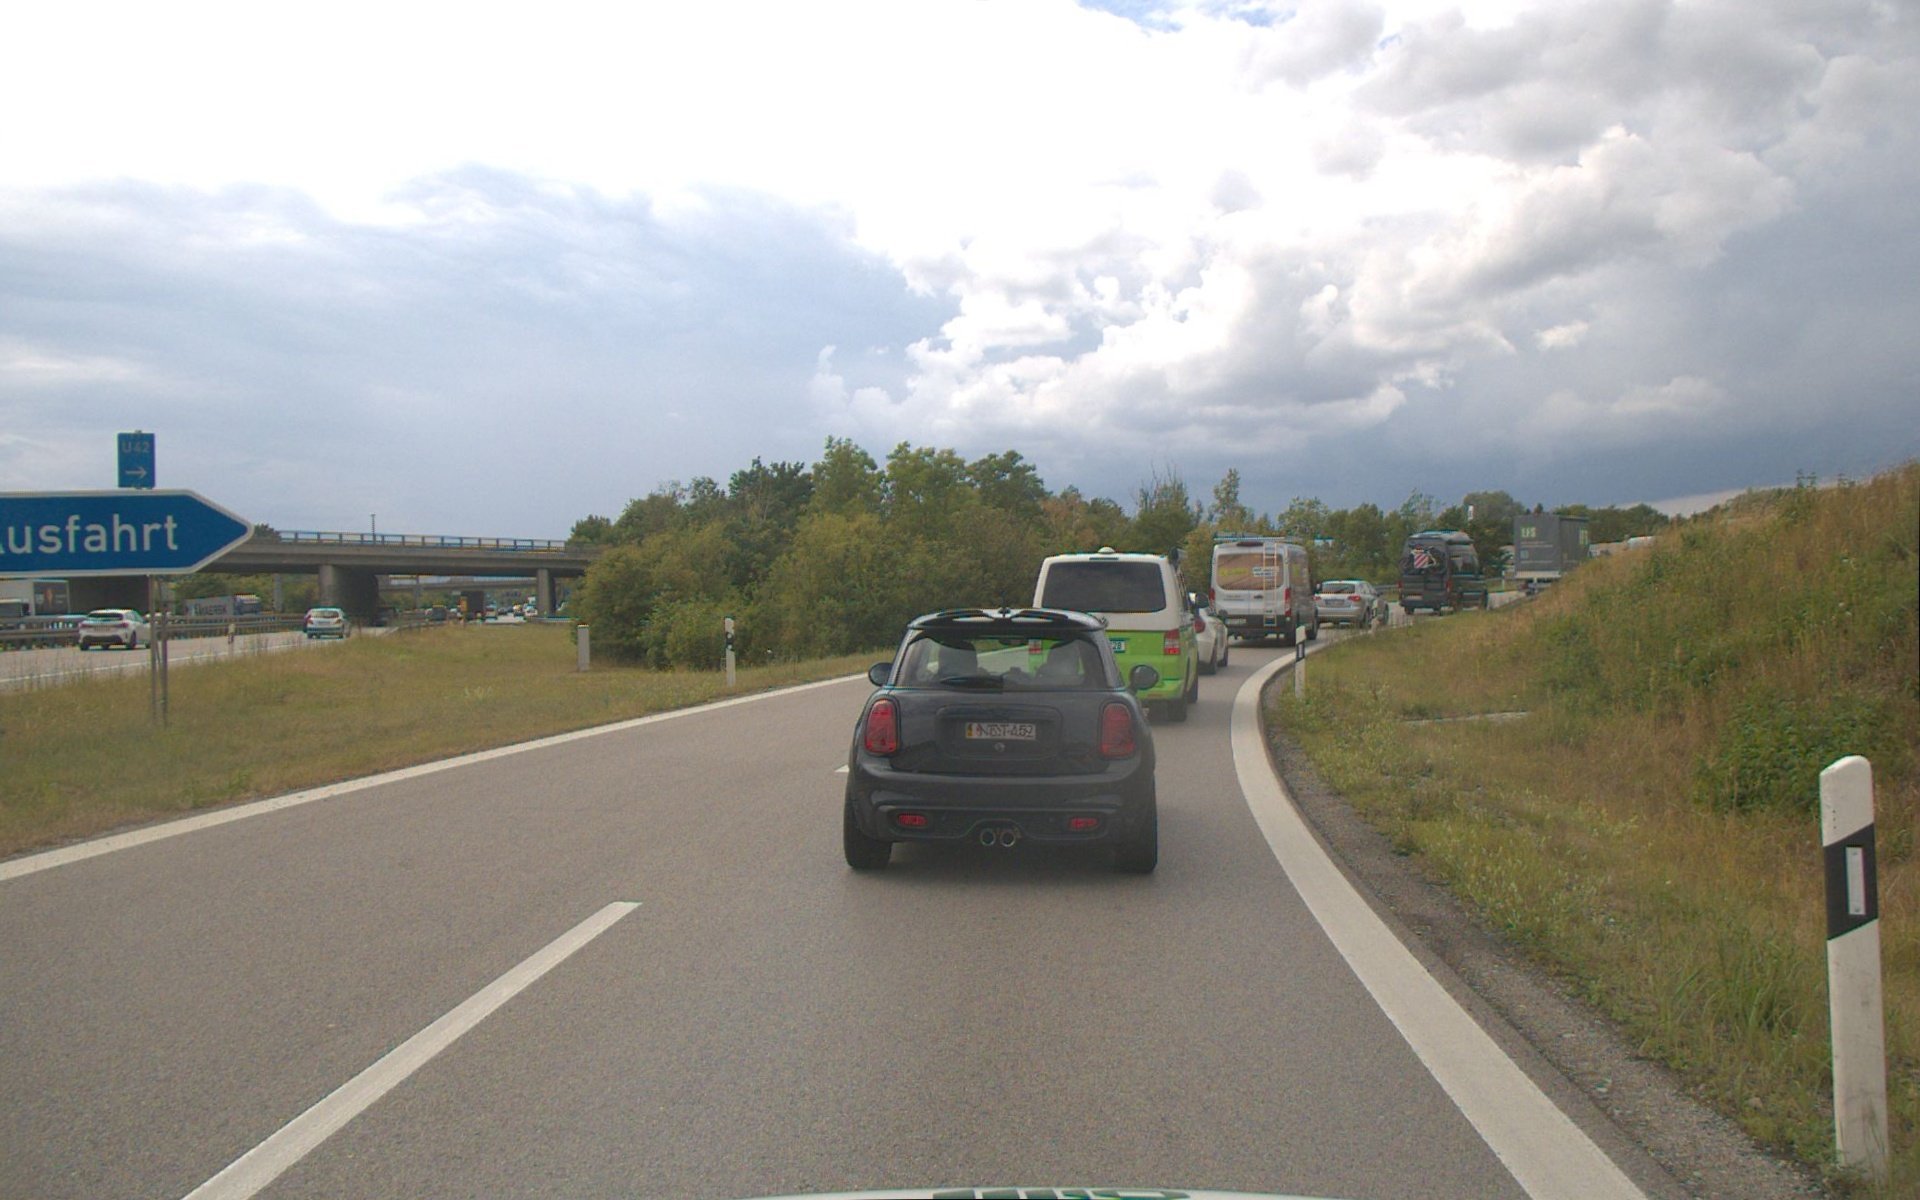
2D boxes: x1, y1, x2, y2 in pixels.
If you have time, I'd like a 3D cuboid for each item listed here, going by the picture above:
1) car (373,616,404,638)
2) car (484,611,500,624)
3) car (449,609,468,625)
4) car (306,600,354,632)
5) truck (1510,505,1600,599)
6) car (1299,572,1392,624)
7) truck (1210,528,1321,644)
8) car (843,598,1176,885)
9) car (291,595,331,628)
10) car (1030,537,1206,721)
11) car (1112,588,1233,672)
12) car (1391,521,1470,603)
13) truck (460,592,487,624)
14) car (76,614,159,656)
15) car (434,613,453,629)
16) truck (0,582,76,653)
[{"bbox_3d":[-48.391,2.303,140.183,1.959,1.774,4.812,-1,0,-13],"label":"car"},{"bbox_3d":[-63.564,2.401,224.797,1.843,1.782,4.473,-1,0,-12],"label":"car"},{"bbox_3d":[-61.883,2.084,204.211,1.959,1.842,3.987,-1,0,-13],"label":"car"},{"bbox_3d":[-31.736,0.815,83.409,1.688,1.545,3.986,-1,0,-13],"label":"car"},{"bbox_3d":[27.250,-2.105,75.620,2.192,3.975,5.989,0,-2,37],"label":"truck"},{"bbox_3d":[11.945,-0.035,51.068,1.831,1.536,3.994,0,0,29],"label":"car"},{"bbox_3d":[7.692,-0.341,41.237,2.132,2.705,5.112,0,0,17],"label":"truck"},{"bbox_3d":[0.386,0.727,10.287,1.691,1.438,3.727,0,0,4],"label":"car"},{"bbox_3d":[-41.641,0.776,106.182,1.962,2.049,3.981,1,-1,-17],"label":"car"},{"bbox_3d":[2.054,0.328,20.489,1.746,2.049,4.003,0,0,11],"label":"car"},{"bbox_3d":[3.936,0.528,30.205,1.725,1.423,3.728,-1,0,15],"label":"car"},{"bbox_3d":[17.094,-1.336,59.947,2.063,2.845,3.996,1,0,26],"label":"car"},{"bbox_3d":[-53.853,0.941,183.176,2.425,3.430,7.895,-1,-1,-13],"label":"truck"},{"bbox_3d":[-31.155,1.277,61.250,1.805,1.478,4.362,-1,0,-14],"label":"car"},{"bbox_3d":[-58.765,2.350,188.149,1.814,1.789,4.321,0,0,-14],"label":"car"},{"bbox_3d":[-50.985,0.949,90.351,2.711,3.710,8.169,0,0,-13],"label":"truck"}]
